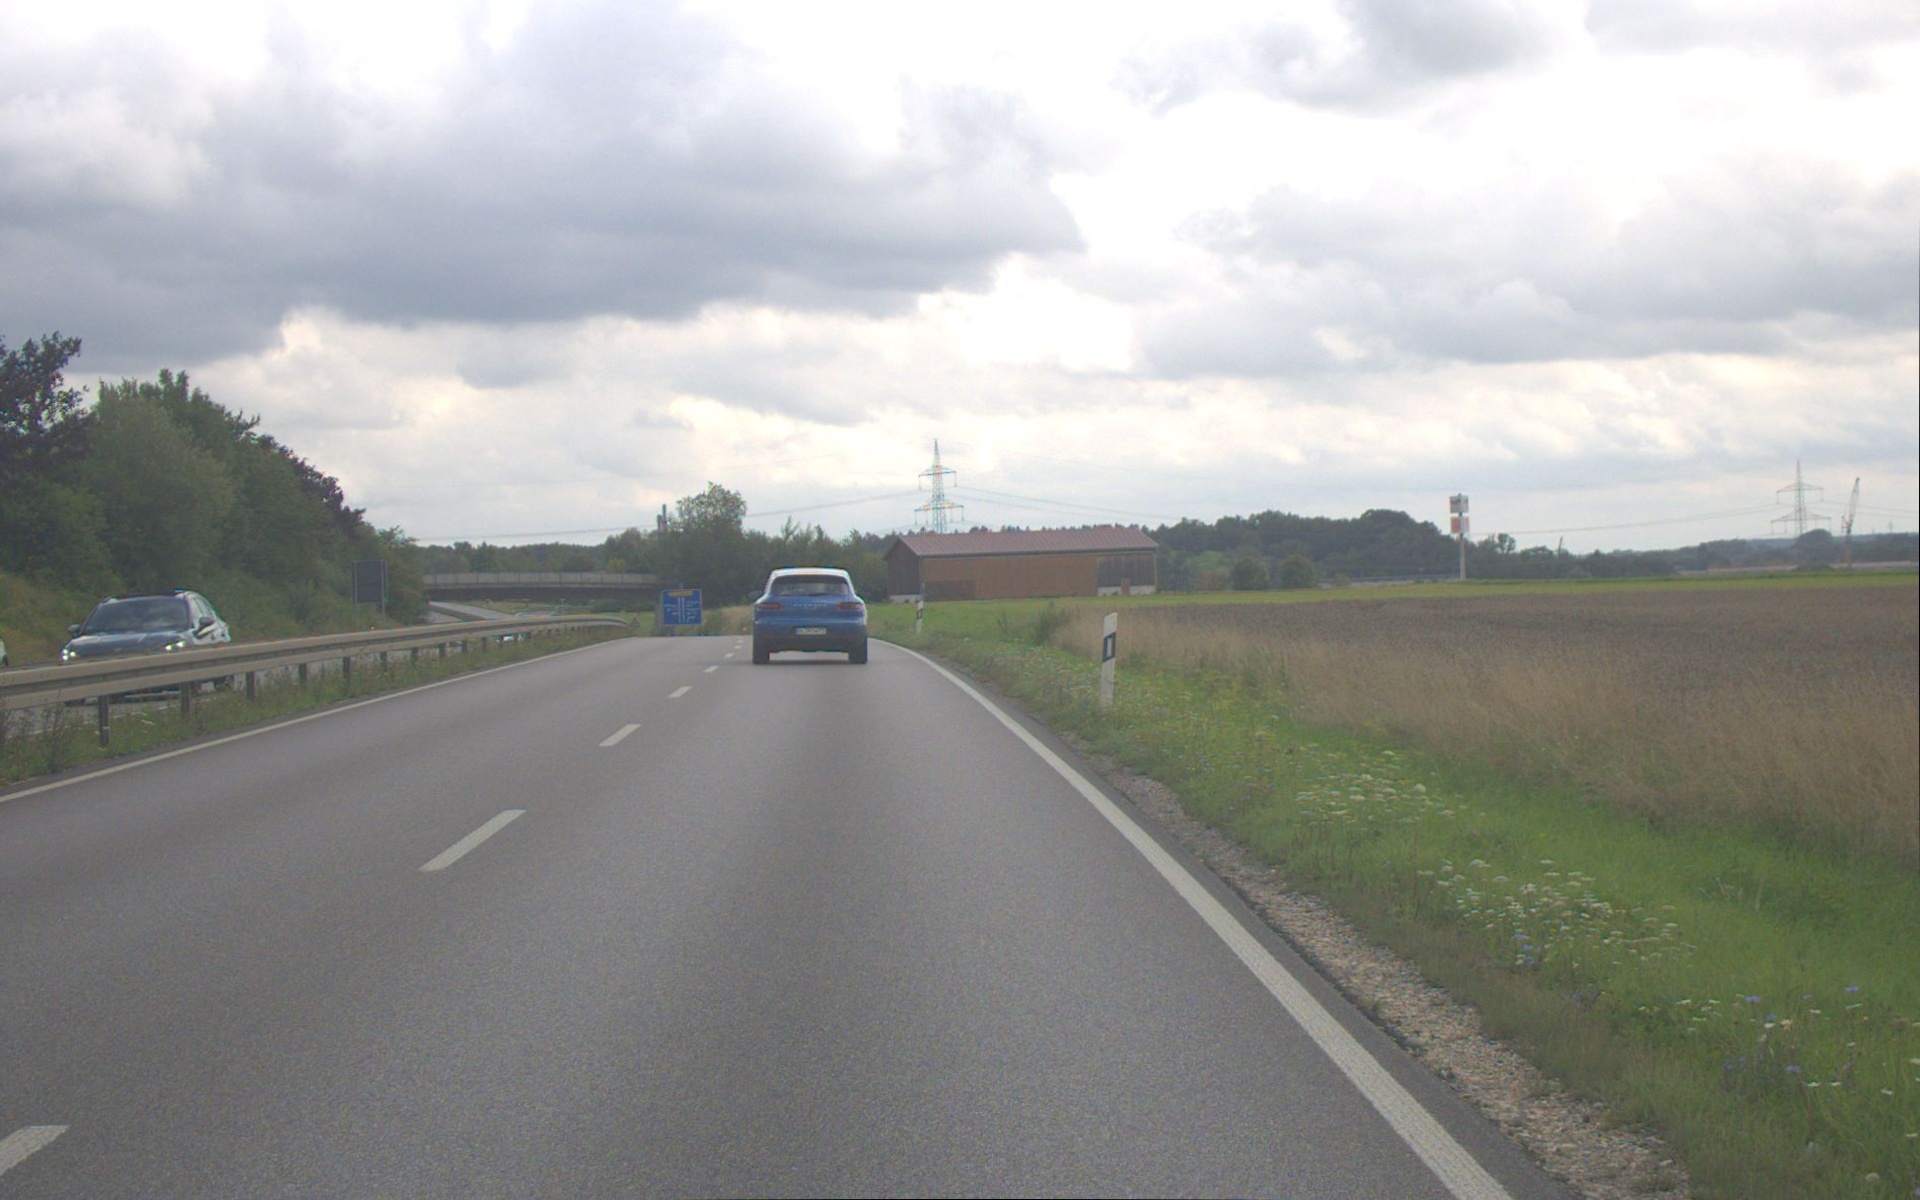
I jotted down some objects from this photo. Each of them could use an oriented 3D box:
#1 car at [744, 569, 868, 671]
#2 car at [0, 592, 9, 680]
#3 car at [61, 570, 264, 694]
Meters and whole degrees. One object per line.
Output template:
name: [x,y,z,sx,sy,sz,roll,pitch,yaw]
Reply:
car: [-2.593,0.302,58.814,2.033,1.655,4.544,0,1,-2]
car: [-15.229,0.611,49.888,1.691,1.319,4.417,-2,1,-1]
car: [-10.751,0.394,46.658,1.754,1.481,4.577,-2,1,-1]
